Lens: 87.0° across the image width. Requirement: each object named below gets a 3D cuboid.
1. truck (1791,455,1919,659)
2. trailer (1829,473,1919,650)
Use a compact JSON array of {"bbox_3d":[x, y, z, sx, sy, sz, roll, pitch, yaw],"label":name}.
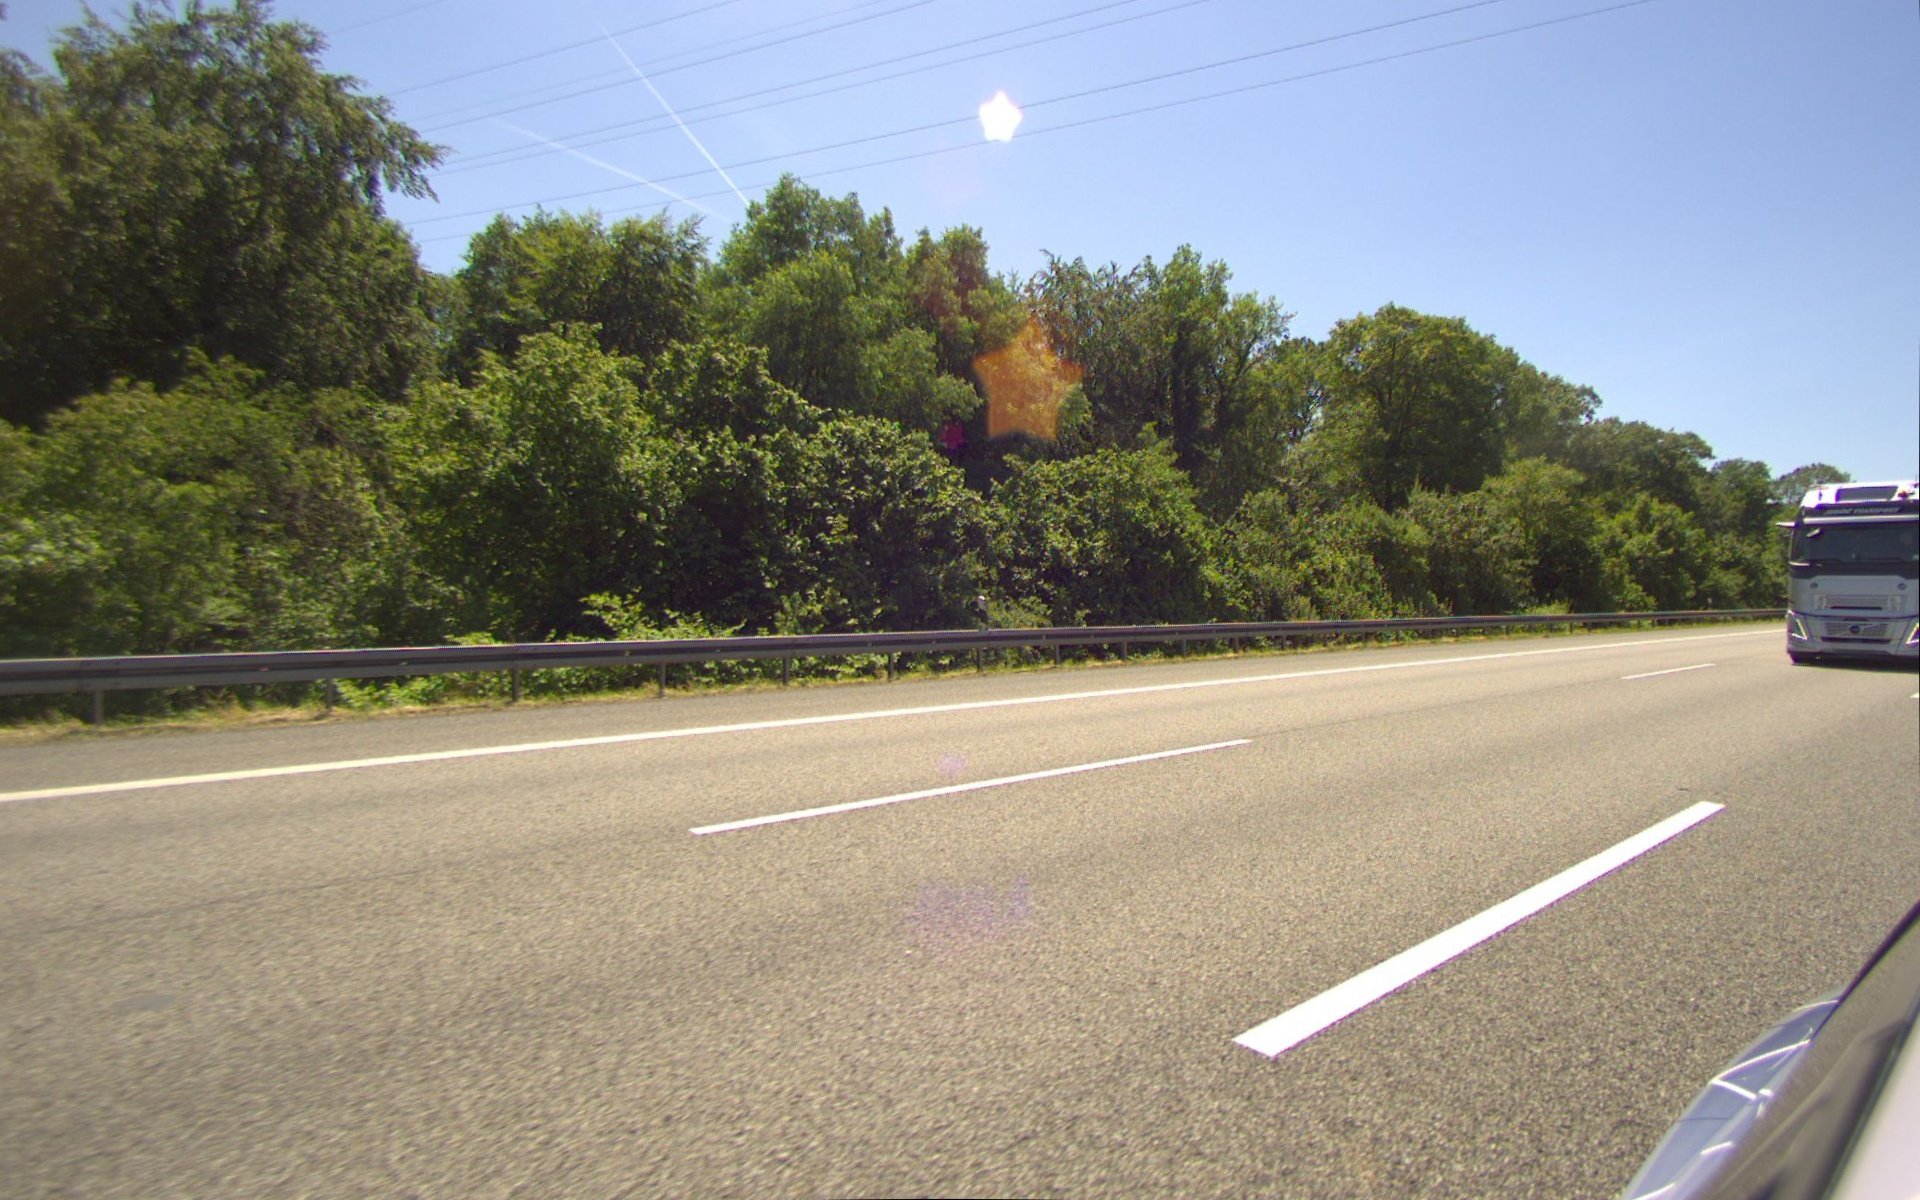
[{"bbox_3d":[20.962,-0.874,22.546,6.387,4.025,2.728,0,0,-41],"label":"truck"},{"bbox_3d":[26.792,-0.914,27.549,13.413,4.025,2.745,0,0,-41],"label":"trailer"}]
